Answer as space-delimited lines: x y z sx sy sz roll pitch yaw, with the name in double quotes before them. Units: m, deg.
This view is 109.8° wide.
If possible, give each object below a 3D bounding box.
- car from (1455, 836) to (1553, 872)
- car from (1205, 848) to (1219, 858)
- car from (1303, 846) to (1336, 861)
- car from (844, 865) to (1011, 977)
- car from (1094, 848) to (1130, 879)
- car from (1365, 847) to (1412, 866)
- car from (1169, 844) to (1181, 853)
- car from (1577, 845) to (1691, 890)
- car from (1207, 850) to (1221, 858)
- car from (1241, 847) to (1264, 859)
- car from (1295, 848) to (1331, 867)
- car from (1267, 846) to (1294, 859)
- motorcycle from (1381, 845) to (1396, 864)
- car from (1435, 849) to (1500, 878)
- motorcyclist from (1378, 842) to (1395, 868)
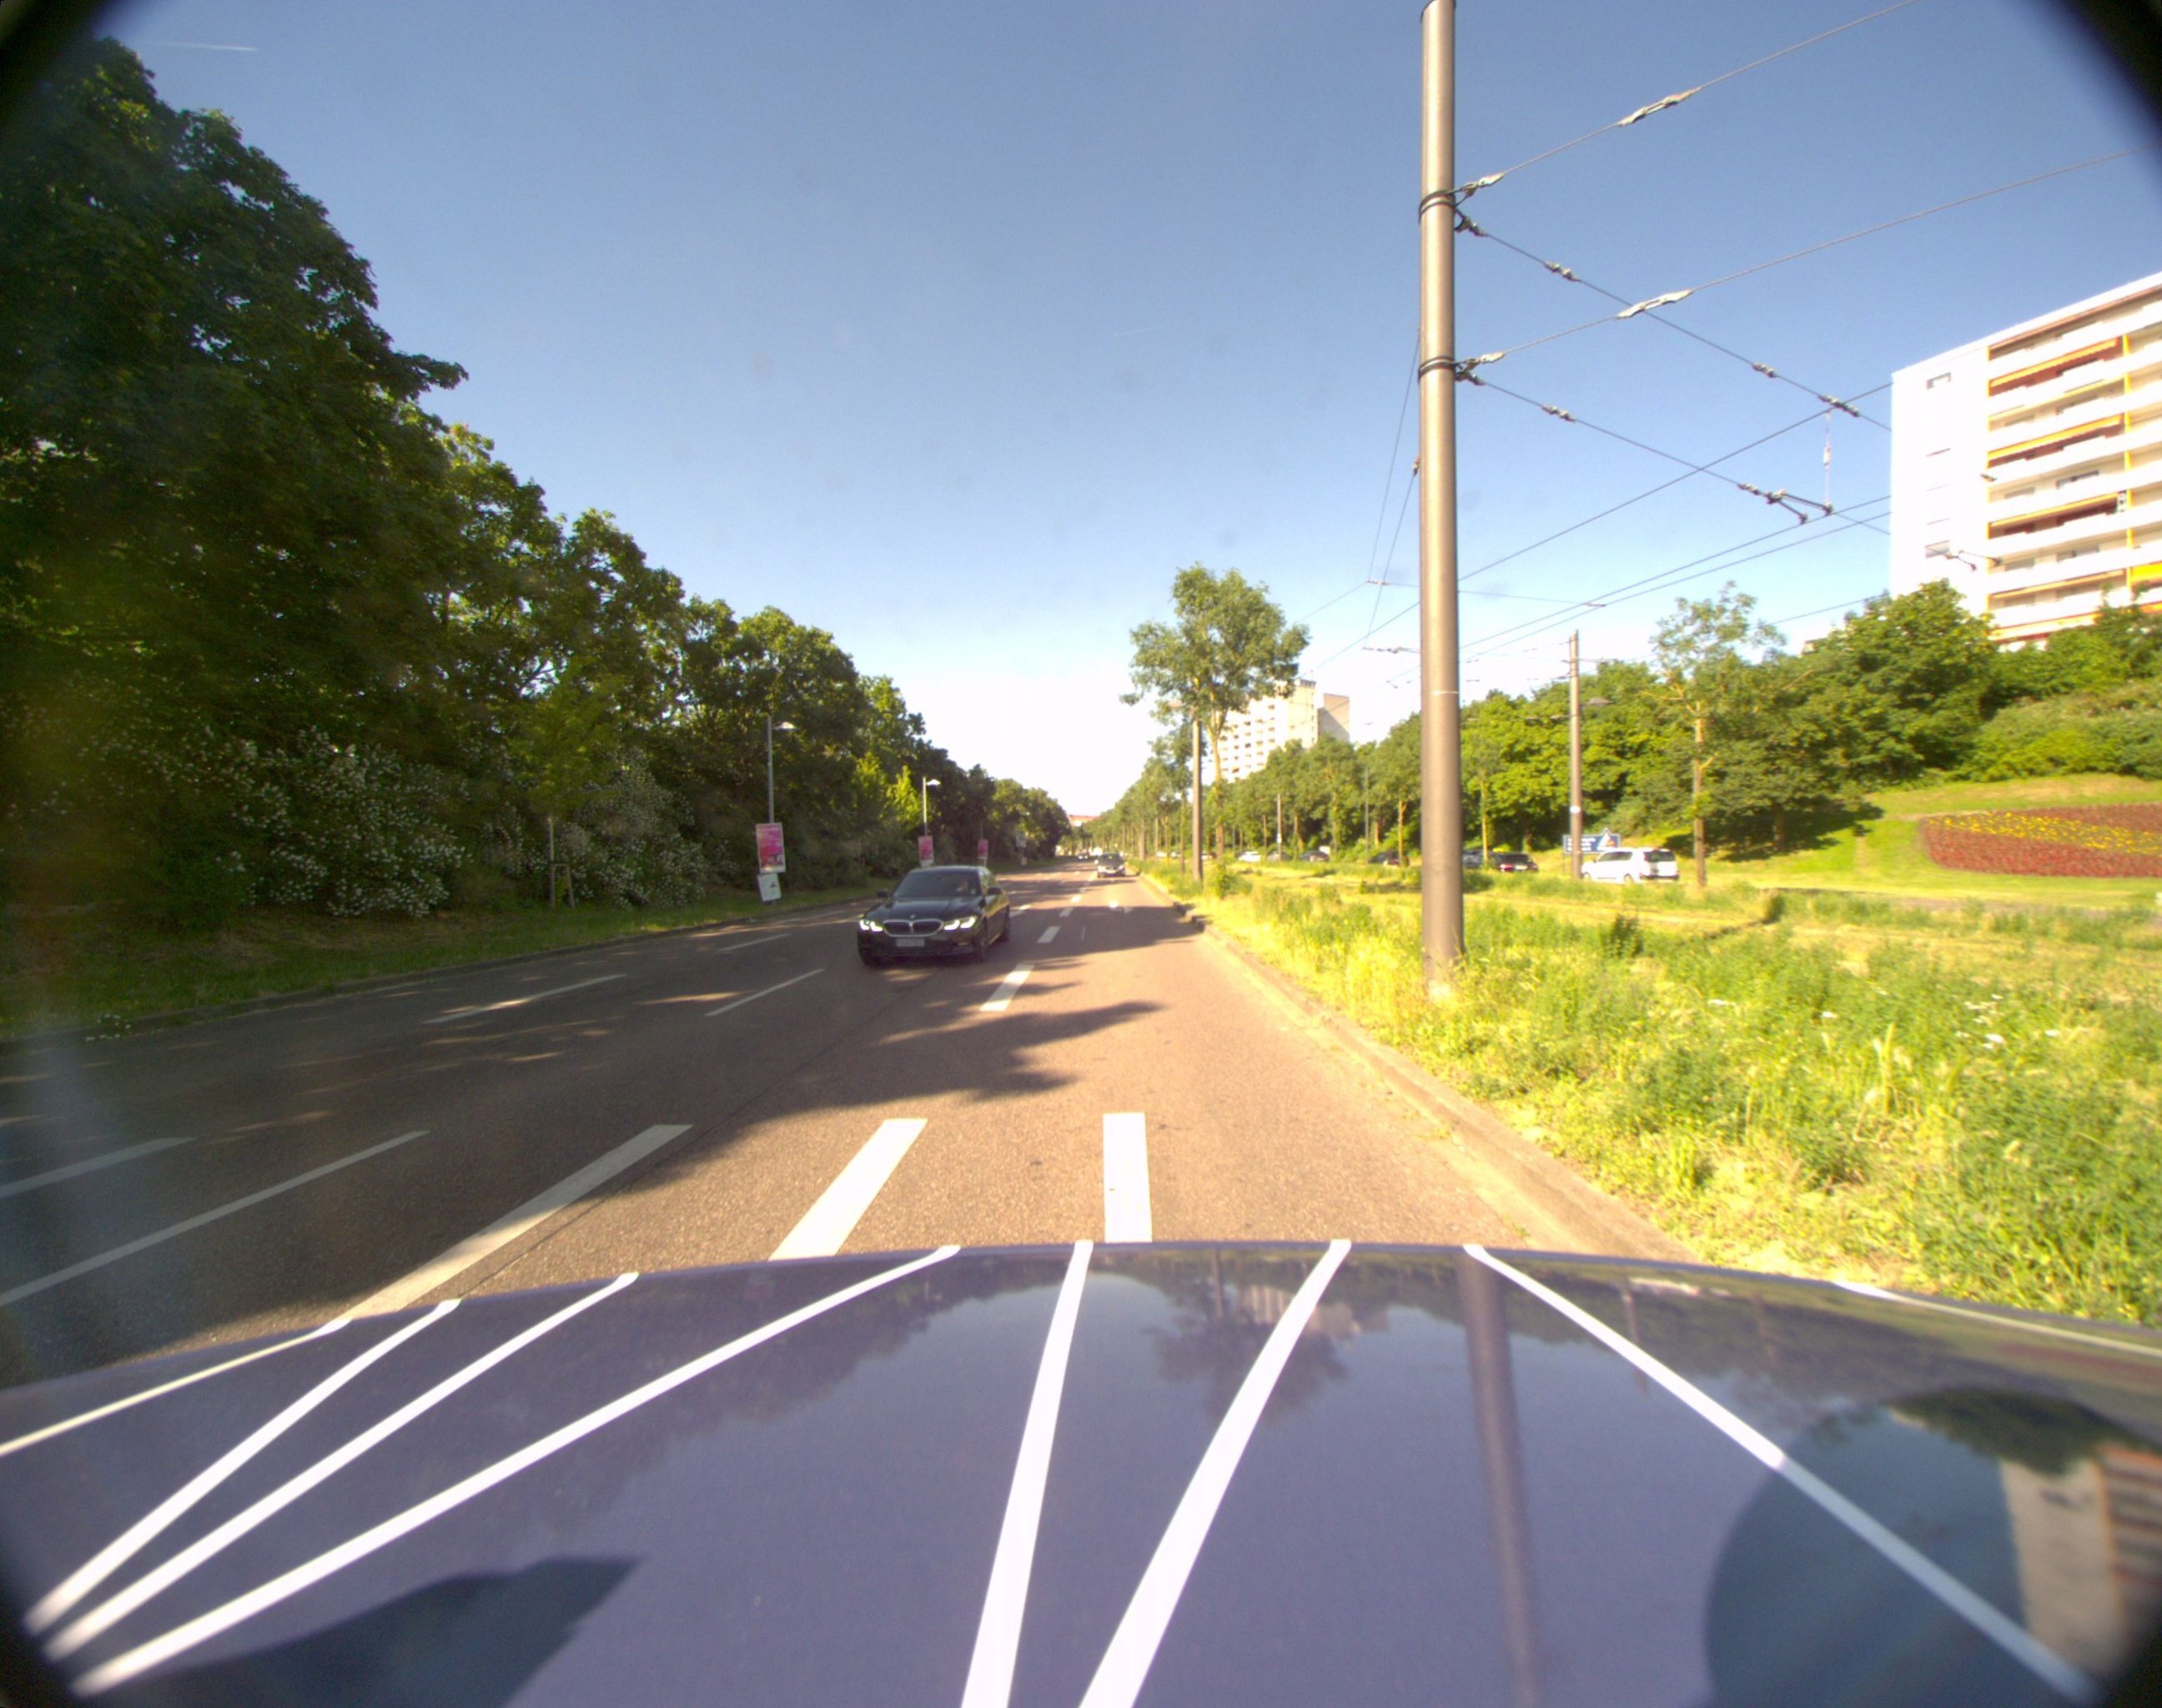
"car" 19.057 -0.020 34.477 1.880 1.477 4.604 -2 1 1
"car" 19.855 -0.171 115.153 1.592 1.464 4.183 -1 0 3
"car" 23.206 -0.064 73.969 1.998 1.366 4.400 -2 1 3
"car" -2.320 0.963 12.668 1.831 1.401 4.216 -2 1 1
"car" 1.807 0.530 45.787 1.998 1.696 3.999 -2 1 1
"car" 22.388 0.166 55.412 1.866 1.334 4.031 0 1 1
"car" 17.351 -0.969 140.435 1.767 1.599 3.758 0 1 2
"car" 22.377 0.486 30.956 1.805 1.698 4.060 0 1 2
"car" 21.880 -0.074 125.179 1.661 1.290 4.177 -1 0 3
"car" 19.866 -0.126 88.000 1.707 1.414 4.643 -1 0 2
"car" 19.581 0.265 64.311 1.998 1.585 4.465 0 1 4
"car" 23.327 -0.172 88.921 1.998 1.424 4.693 0 1 2
"motorcycle" 19.290 0.012 47.718 0.422 1.125 2.096 -2 1 9
"car" 22.552 0.530 44.516 1.842 1.592 4.438 -1 1 4
"motorcyclist" 19.240 0.035 47.807 0.836 1.590 0.640 -2 1 9
